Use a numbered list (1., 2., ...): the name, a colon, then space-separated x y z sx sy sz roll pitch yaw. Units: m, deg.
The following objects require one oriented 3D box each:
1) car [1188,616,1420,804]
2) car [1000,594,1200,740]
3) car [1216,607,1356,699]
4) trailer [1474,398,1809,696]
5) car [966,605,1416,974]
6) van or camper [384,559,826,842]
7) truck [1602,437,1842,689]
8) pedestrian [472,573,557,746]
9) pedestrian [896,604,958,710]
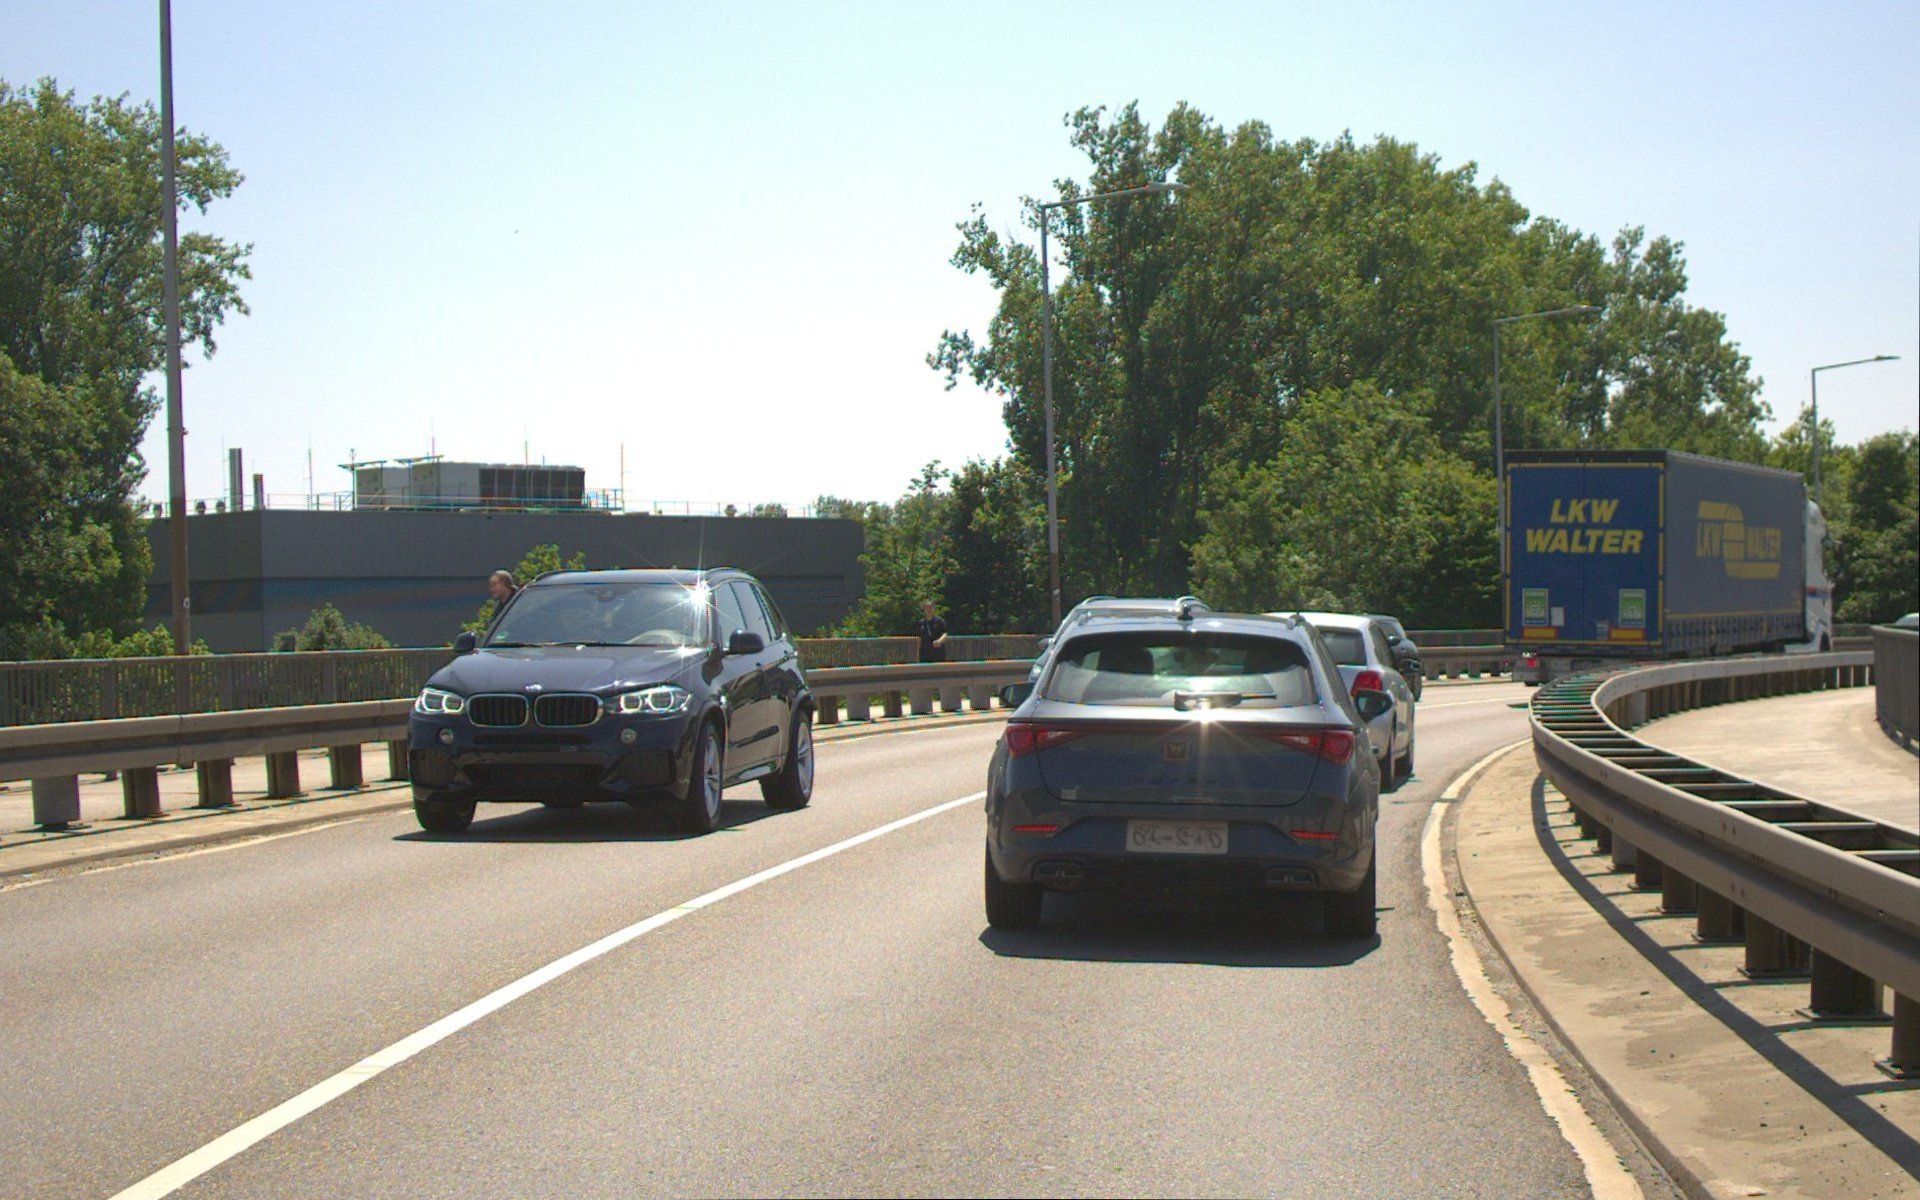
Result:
1. car: 2.992 0.899 29.374 1.594 1.456 3.543 2 0 11
2. car: 1.738 0.812 41.241 1.896 1.649 4.256 0 -1 9
3. car: 5.301 0.865 55.575 1.790 1.414 3.771 -1 -1 12
4. trailer: 12.102 -0.744 59.699 3.138 4.598 12.932 1 0 22
5. car: 1.020 0.790 16.169 1.845 1.494 3.758 1 0 2
6. van or camper: -2.316 0.663 23.774 1.994 1.755 4.696 0 -1 8
7. truck: 14.791 -0.626 66.260 3.174 4.570 7.387 1 -1 23
8. pedestrian: -4.663 0.626 36.033 0.638 1.776 0.811 1 -1 9
9. pedestrian: -0.485 0.843 50.928 0.715 1.556 0.694 -1 -1 18
